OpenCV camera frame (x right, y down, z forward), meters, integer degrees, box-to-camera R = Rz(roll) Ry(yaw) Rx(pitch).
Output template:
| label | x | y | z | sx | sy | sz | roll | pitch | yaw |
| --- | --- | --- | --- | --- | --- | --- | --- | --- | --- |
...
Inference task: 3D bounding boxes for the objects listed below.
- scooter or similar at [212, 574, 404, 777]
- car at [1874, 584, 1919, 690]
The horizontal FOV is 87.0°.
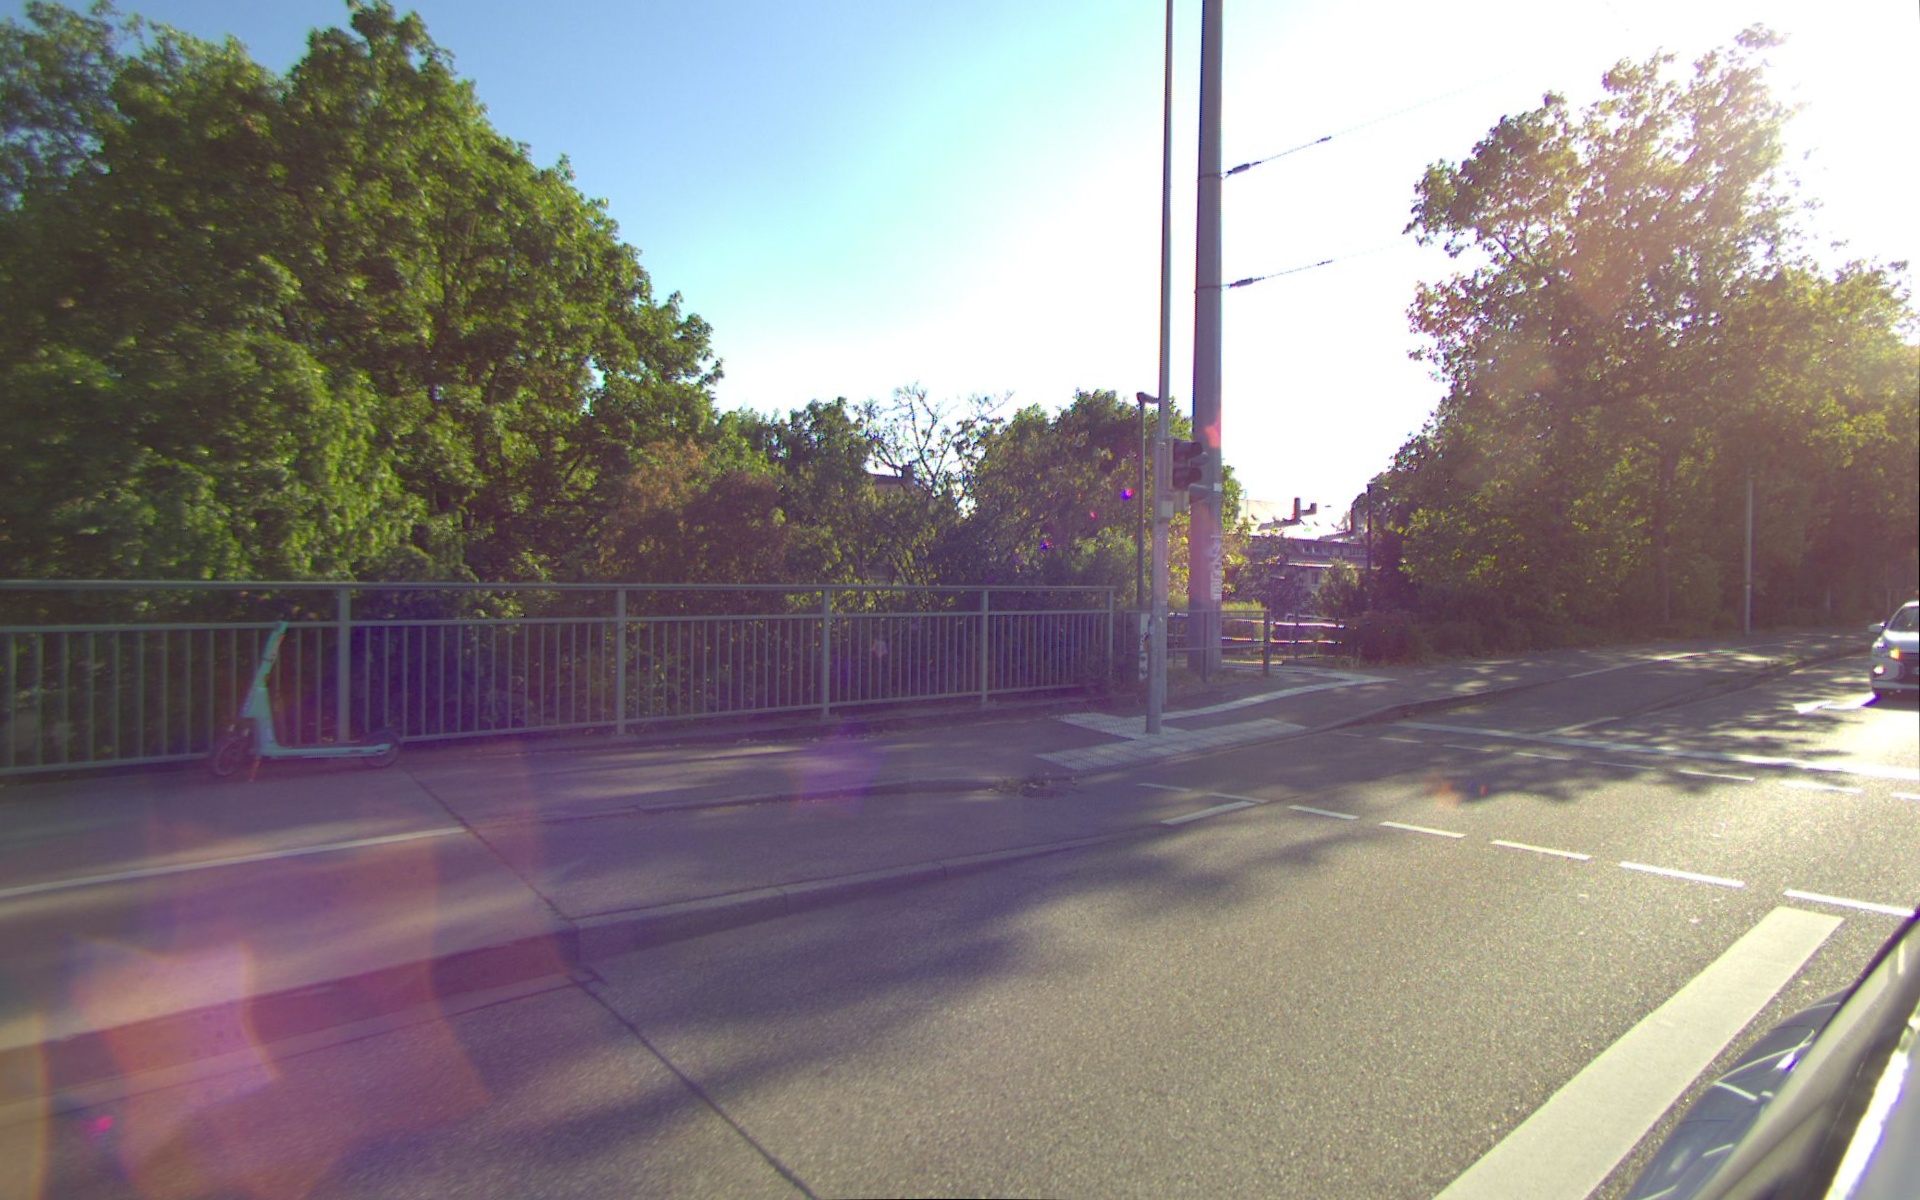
| label | x | y | z | sx | sy | sz | roll | pitch | yaw |
| --- | --- | --- | --- | --- | --- | --- | --- | --- | --- |
| scooter or similar | -4.475 | 0.475 | 6.969 | 1.064 | 1.291 | 0.427 | 0 | 1 | -40 |
| car | 15.429 | 0.522 | 15.389 | 3.676 | 1.492 | 1.671 | -1 | 2 | -38 |
